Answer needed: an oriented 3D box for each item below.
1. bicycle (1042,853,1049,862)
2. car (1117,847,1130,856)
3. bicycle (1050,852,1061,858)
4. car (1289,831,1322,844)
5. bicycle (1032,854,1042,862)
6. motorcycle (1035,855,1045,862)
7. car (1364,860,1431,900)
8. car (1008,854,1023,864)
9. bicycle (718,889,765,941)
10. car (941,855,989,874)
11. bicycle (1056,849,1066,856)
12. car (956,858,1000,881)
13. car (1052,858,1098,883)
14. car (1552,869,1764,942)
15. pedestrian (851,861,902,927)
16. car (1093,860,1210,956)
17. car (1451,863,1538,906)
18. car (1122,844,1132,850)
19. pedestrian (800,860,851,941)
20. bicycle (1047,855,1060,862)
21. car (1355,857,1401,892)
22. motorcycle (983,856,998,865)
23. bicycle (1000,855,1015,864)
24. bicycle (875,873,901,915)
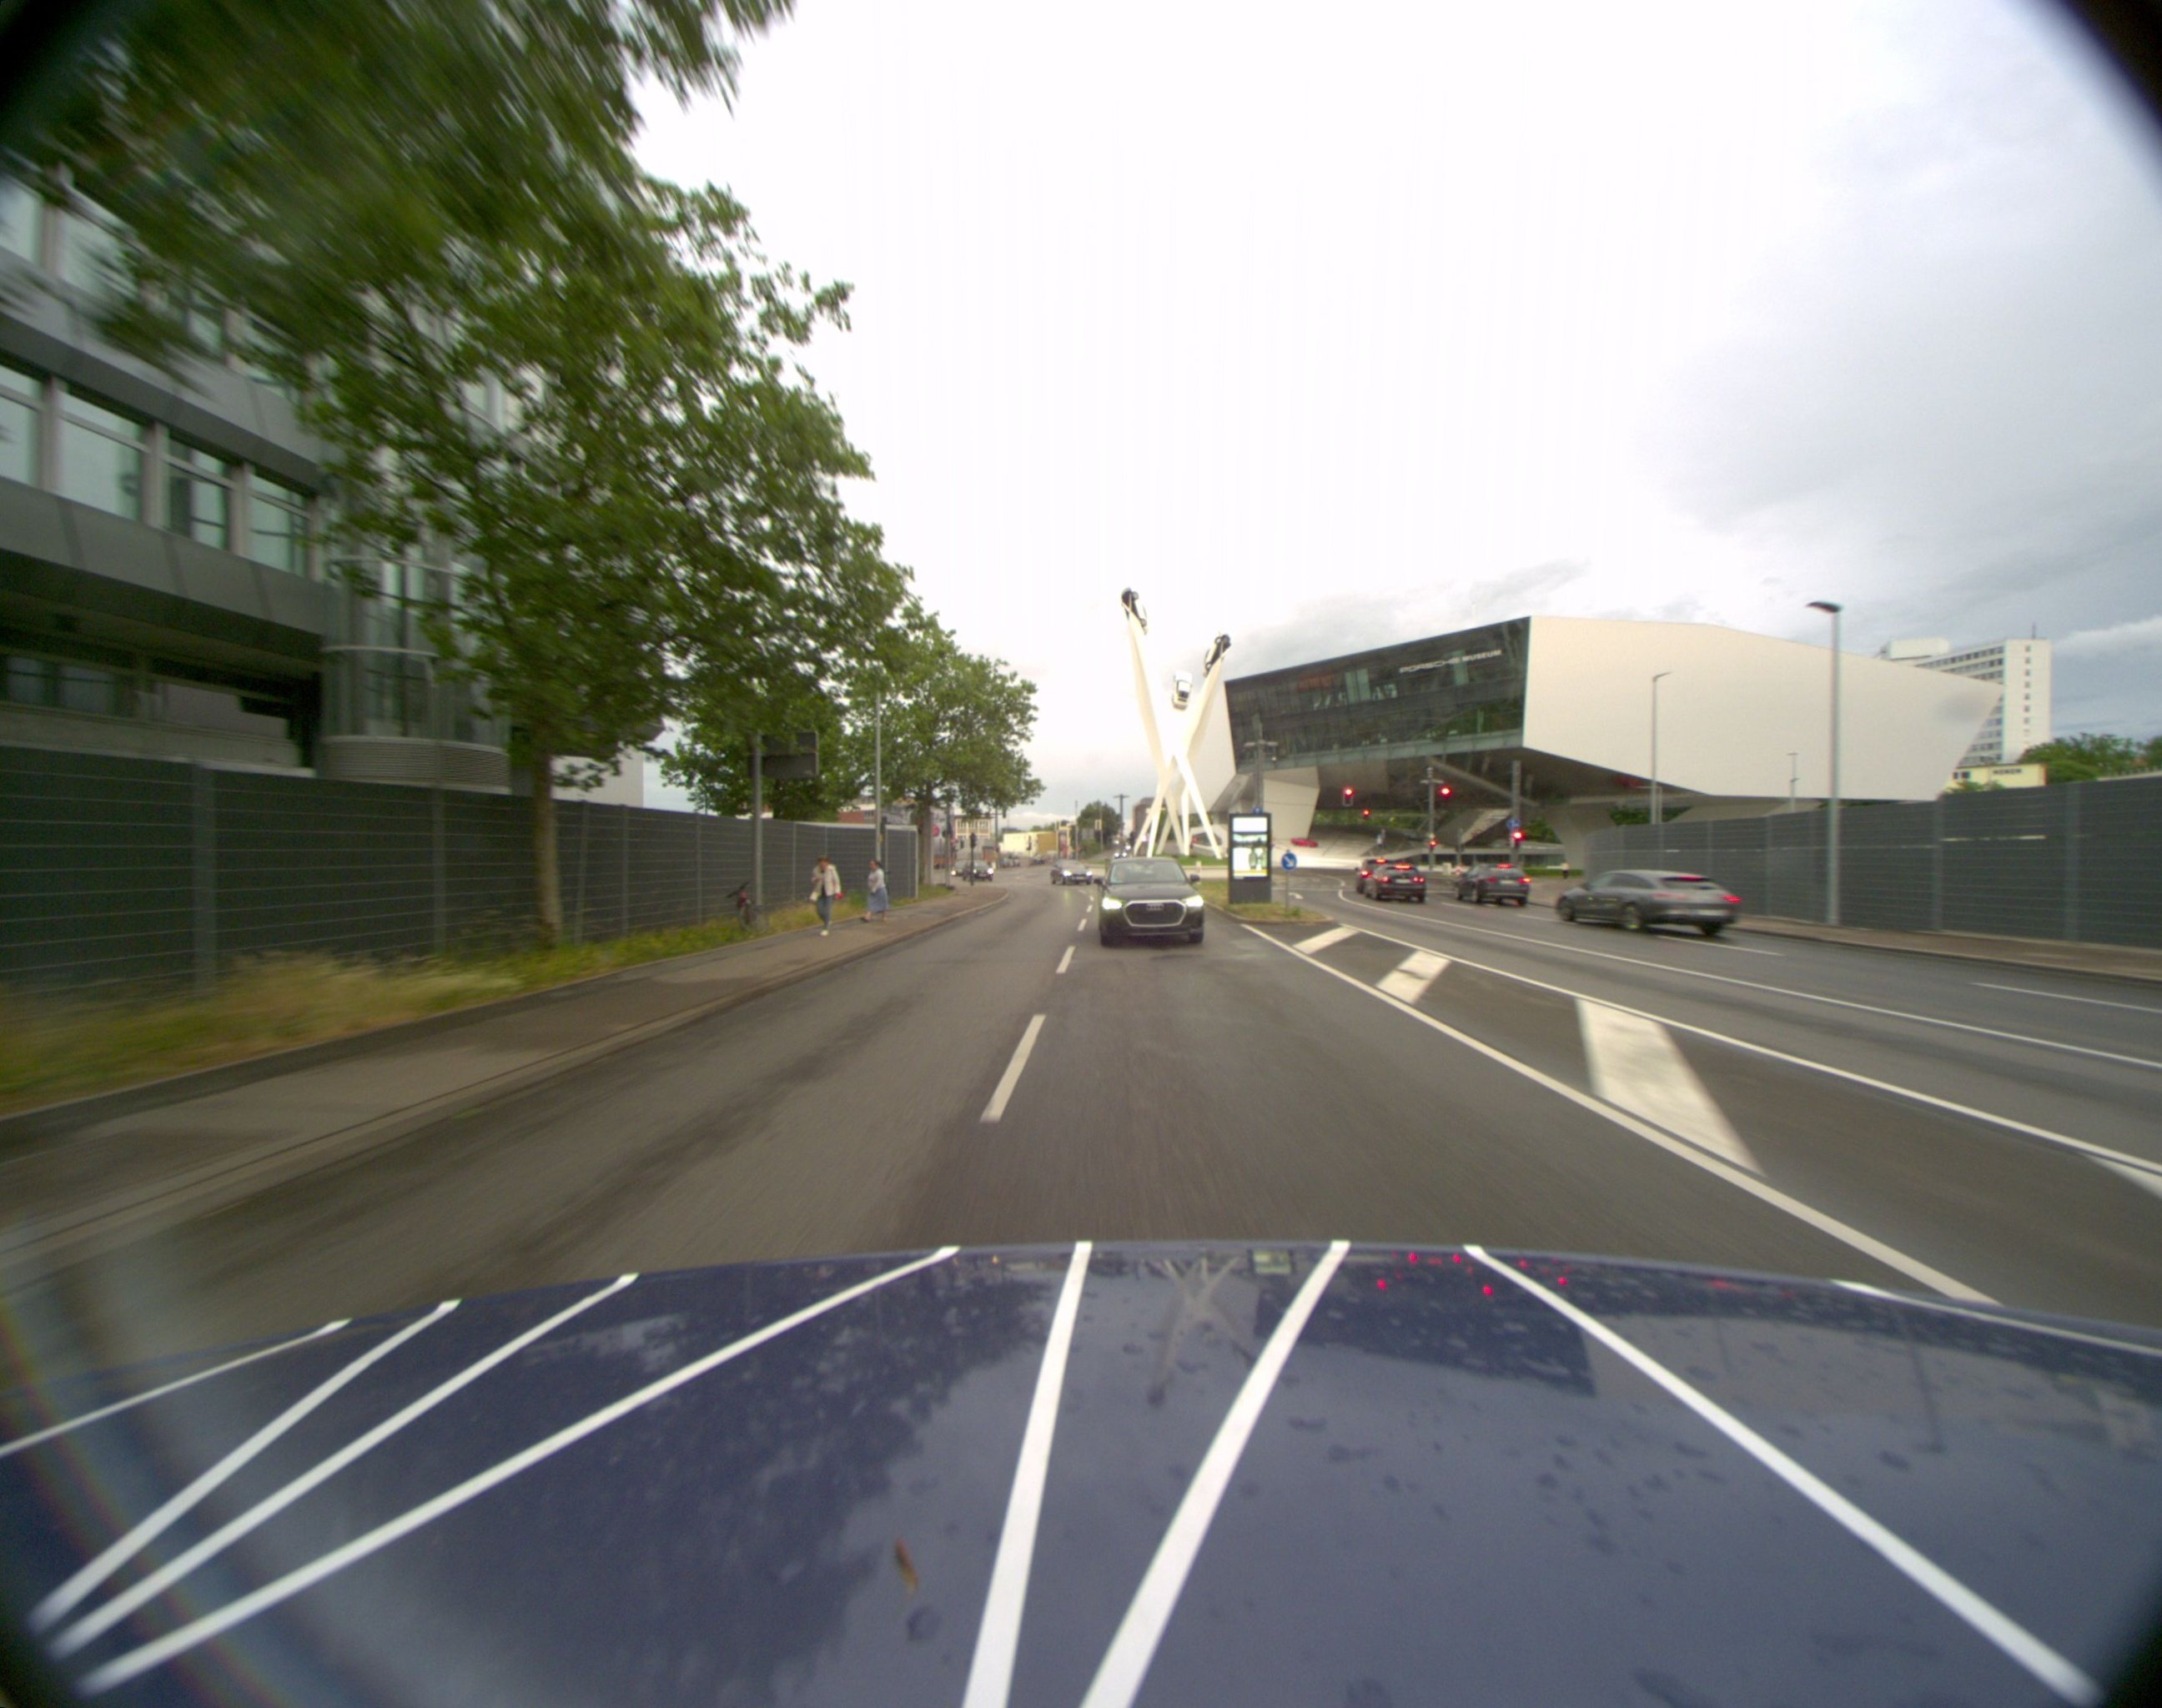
[{"bbox_3d":[-5.223,0.547,110.500,0.400,1.169,2.016,0,3,15],"label":"bicycle"},{"bbox_3d":[7.098,-0.393,126.690,1.817,1.430,4.302,0,0,0],"label":"car"},{"bbox_3d":[-3.787,0.114,114.423,1.613,0.916,0.422,0,2,17],"label":"bicycle"},{"bbox_3d":[33.892,-2.472,114.694,2.004,1.378,4.229,-2,9,-41],"label":"car"},{"bbox_3d":[-6.224,0.616,108.258,0.346,1.078,1.747,1,4,39],"label":"bicycle"},{"bbox_3d":[-5.951,0.633,110.725,0.546,0.890,1.747,0,3,29],"label":"motorcycle"},{"bbox_3d":[12.389,0.971,30.010,1.785,1.431,4.400,0,0,14],"label":"car"},{"bbox_3d":[-12.218,0.943,141.393,1.782,1.657,4.507,-1,1,8],"label":"car"},{"bbox_3d":[-7.024,1.230,15.677,0.514,0.948,1.697,-1,0,-37],"label":"bicycle"},{"bbox_3d":[-10.608,0.902,69.482,4.070,1.466,1.747,-3,3,-15],"label":"car"},{"bbox_3d":[-3.123,-0.221,120.159,1.464,1.068,0.442,-1,4,-25],"label":"bicycle"},{"bbox_3d":[-7.579,1.100,55.580,1.697,1.499,4.000,-3,3,-30],"label":"car"},{"bbox_3d":[-0.423,0.965,46.206,1.819,1.430,4.296,0,0,-15],"label":"car"},{"bbox_3d":[13.460,1.110,18.153,1.786,1.377,4.547,2,0,4],"label":"car"},{"bbox_3d":[-4.921,0.940,18.305,0.831,1.512,0.843,0,1,37],"label":"pedestrian"},{"bbox_3d":[1.211,0.914,14.808,1.757,1.509,4.394,-1,0,-1],"label":"car"},{"bbox_3d":[15.939,1.112,29.537,1.785,1.446,4.565,1,0,13],"label":"car"},{"bbox_3d":[9.845,-1.493,161.778,1.817,1.430,4.302,0,0,0],"label":"car"},{"bbox_3d":[-5.114,0.912,15.245,0.710,1.583,0.841,0,1,3],"label":"pedestrian"},{"bbox_3d":[-4.049,0.618,111.764,1.742,0.956,0.422,-1,3,13],"label":"bicycle"},{"bbox_3d":[14.173,0.931,36.417,1.785,1.579,4.572,0,0,18],"label":"car"},{"bbox_3d":[-12.470,0.877,104.614,2.090,1.139,0.489,-1,3,26],"label":"motorcycle"},{"bbox_3d":[-10.036,0.801,103.902,2.077,1.124,0.420,-4,4,-38],"label":"bicycle"},{"bbox_3d":[-5.546,1.123,21.879,0.342,1.112,1.972,0,0,-3],"label":"bicycle"}]
